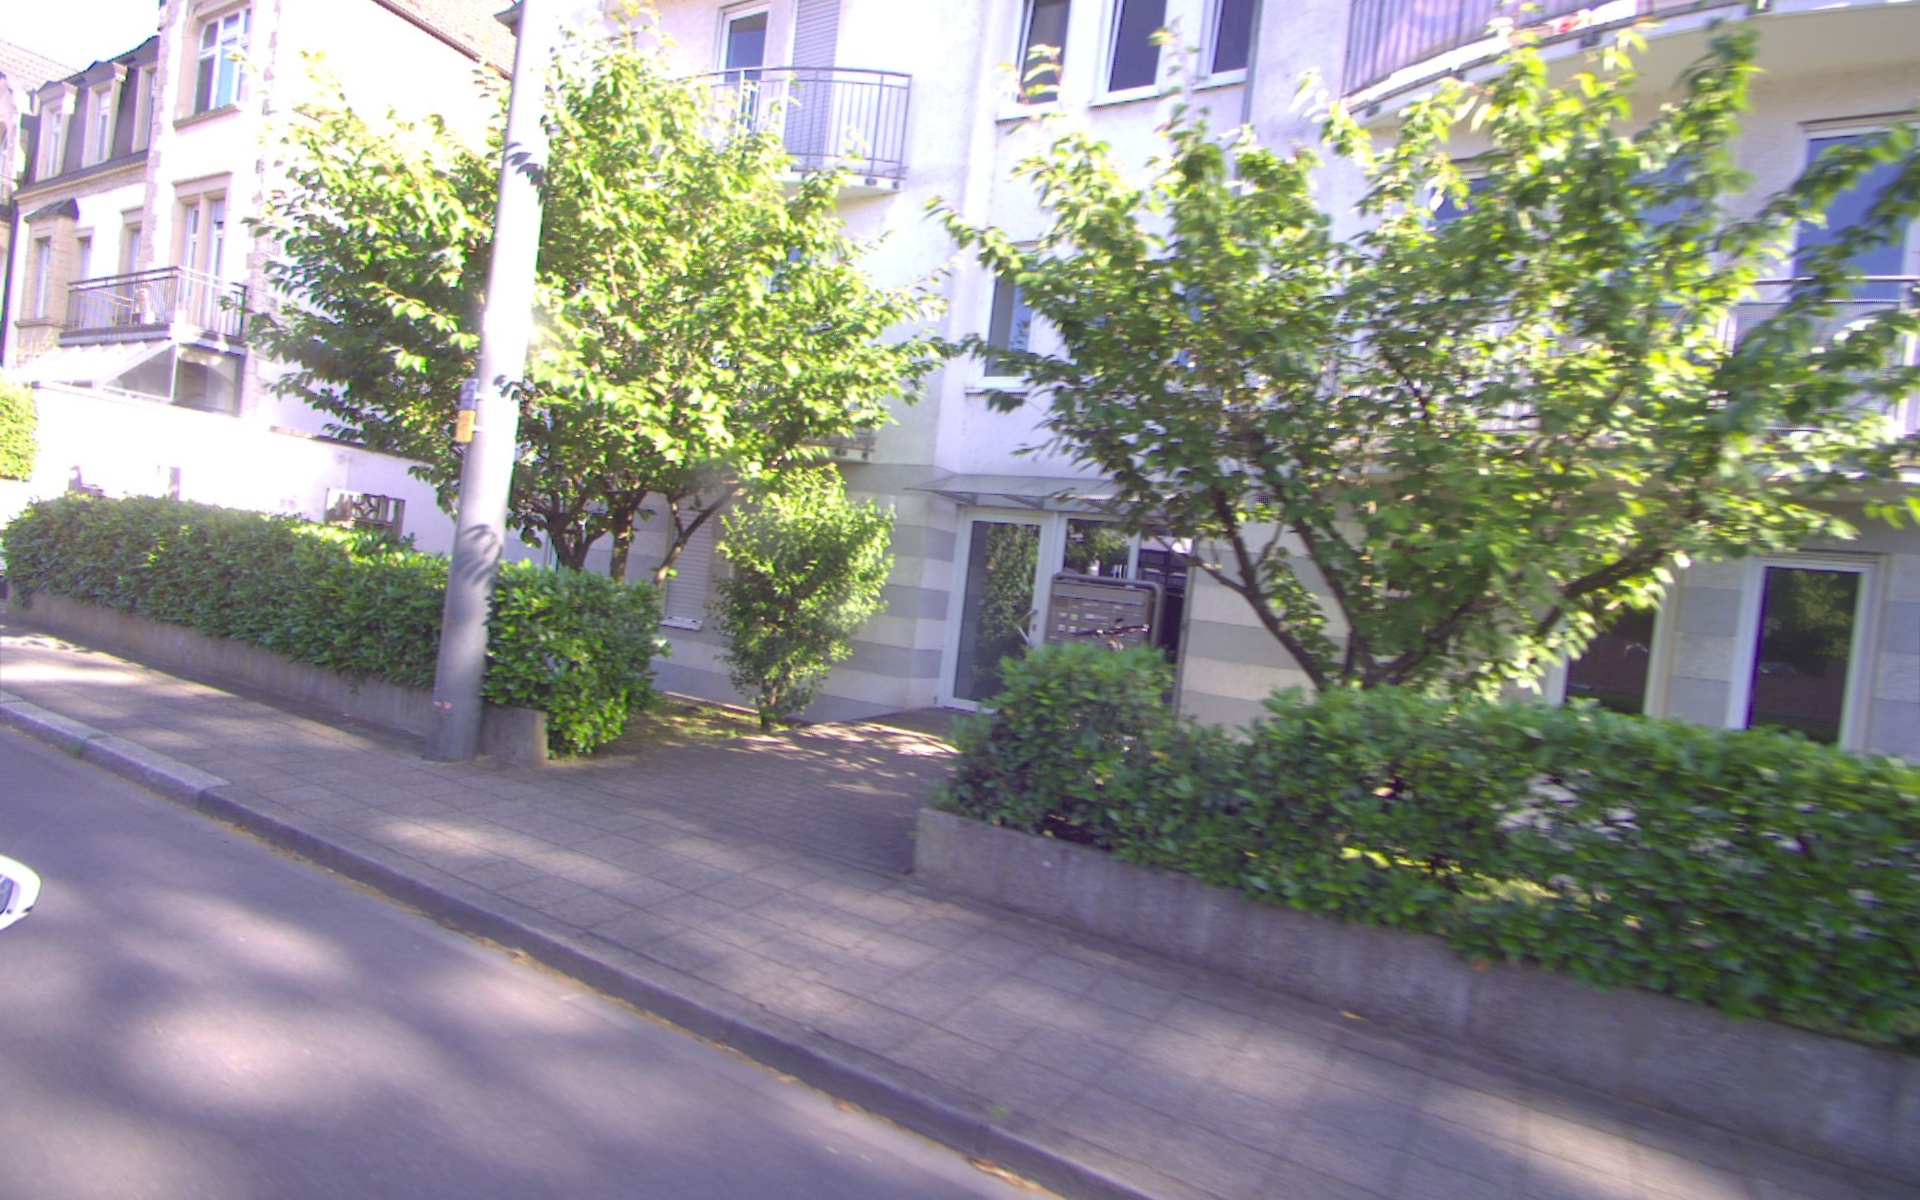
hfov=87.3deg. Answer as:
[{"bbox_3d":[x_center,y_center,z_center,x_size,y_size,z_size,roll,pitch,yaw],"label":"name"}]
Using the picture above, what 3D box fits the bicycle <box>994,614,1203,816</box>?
[{"bbox_3d":[1.088,0.759,7.480,0.811,1.220,1.840,7,3,30],"label":"bicycle"}]
